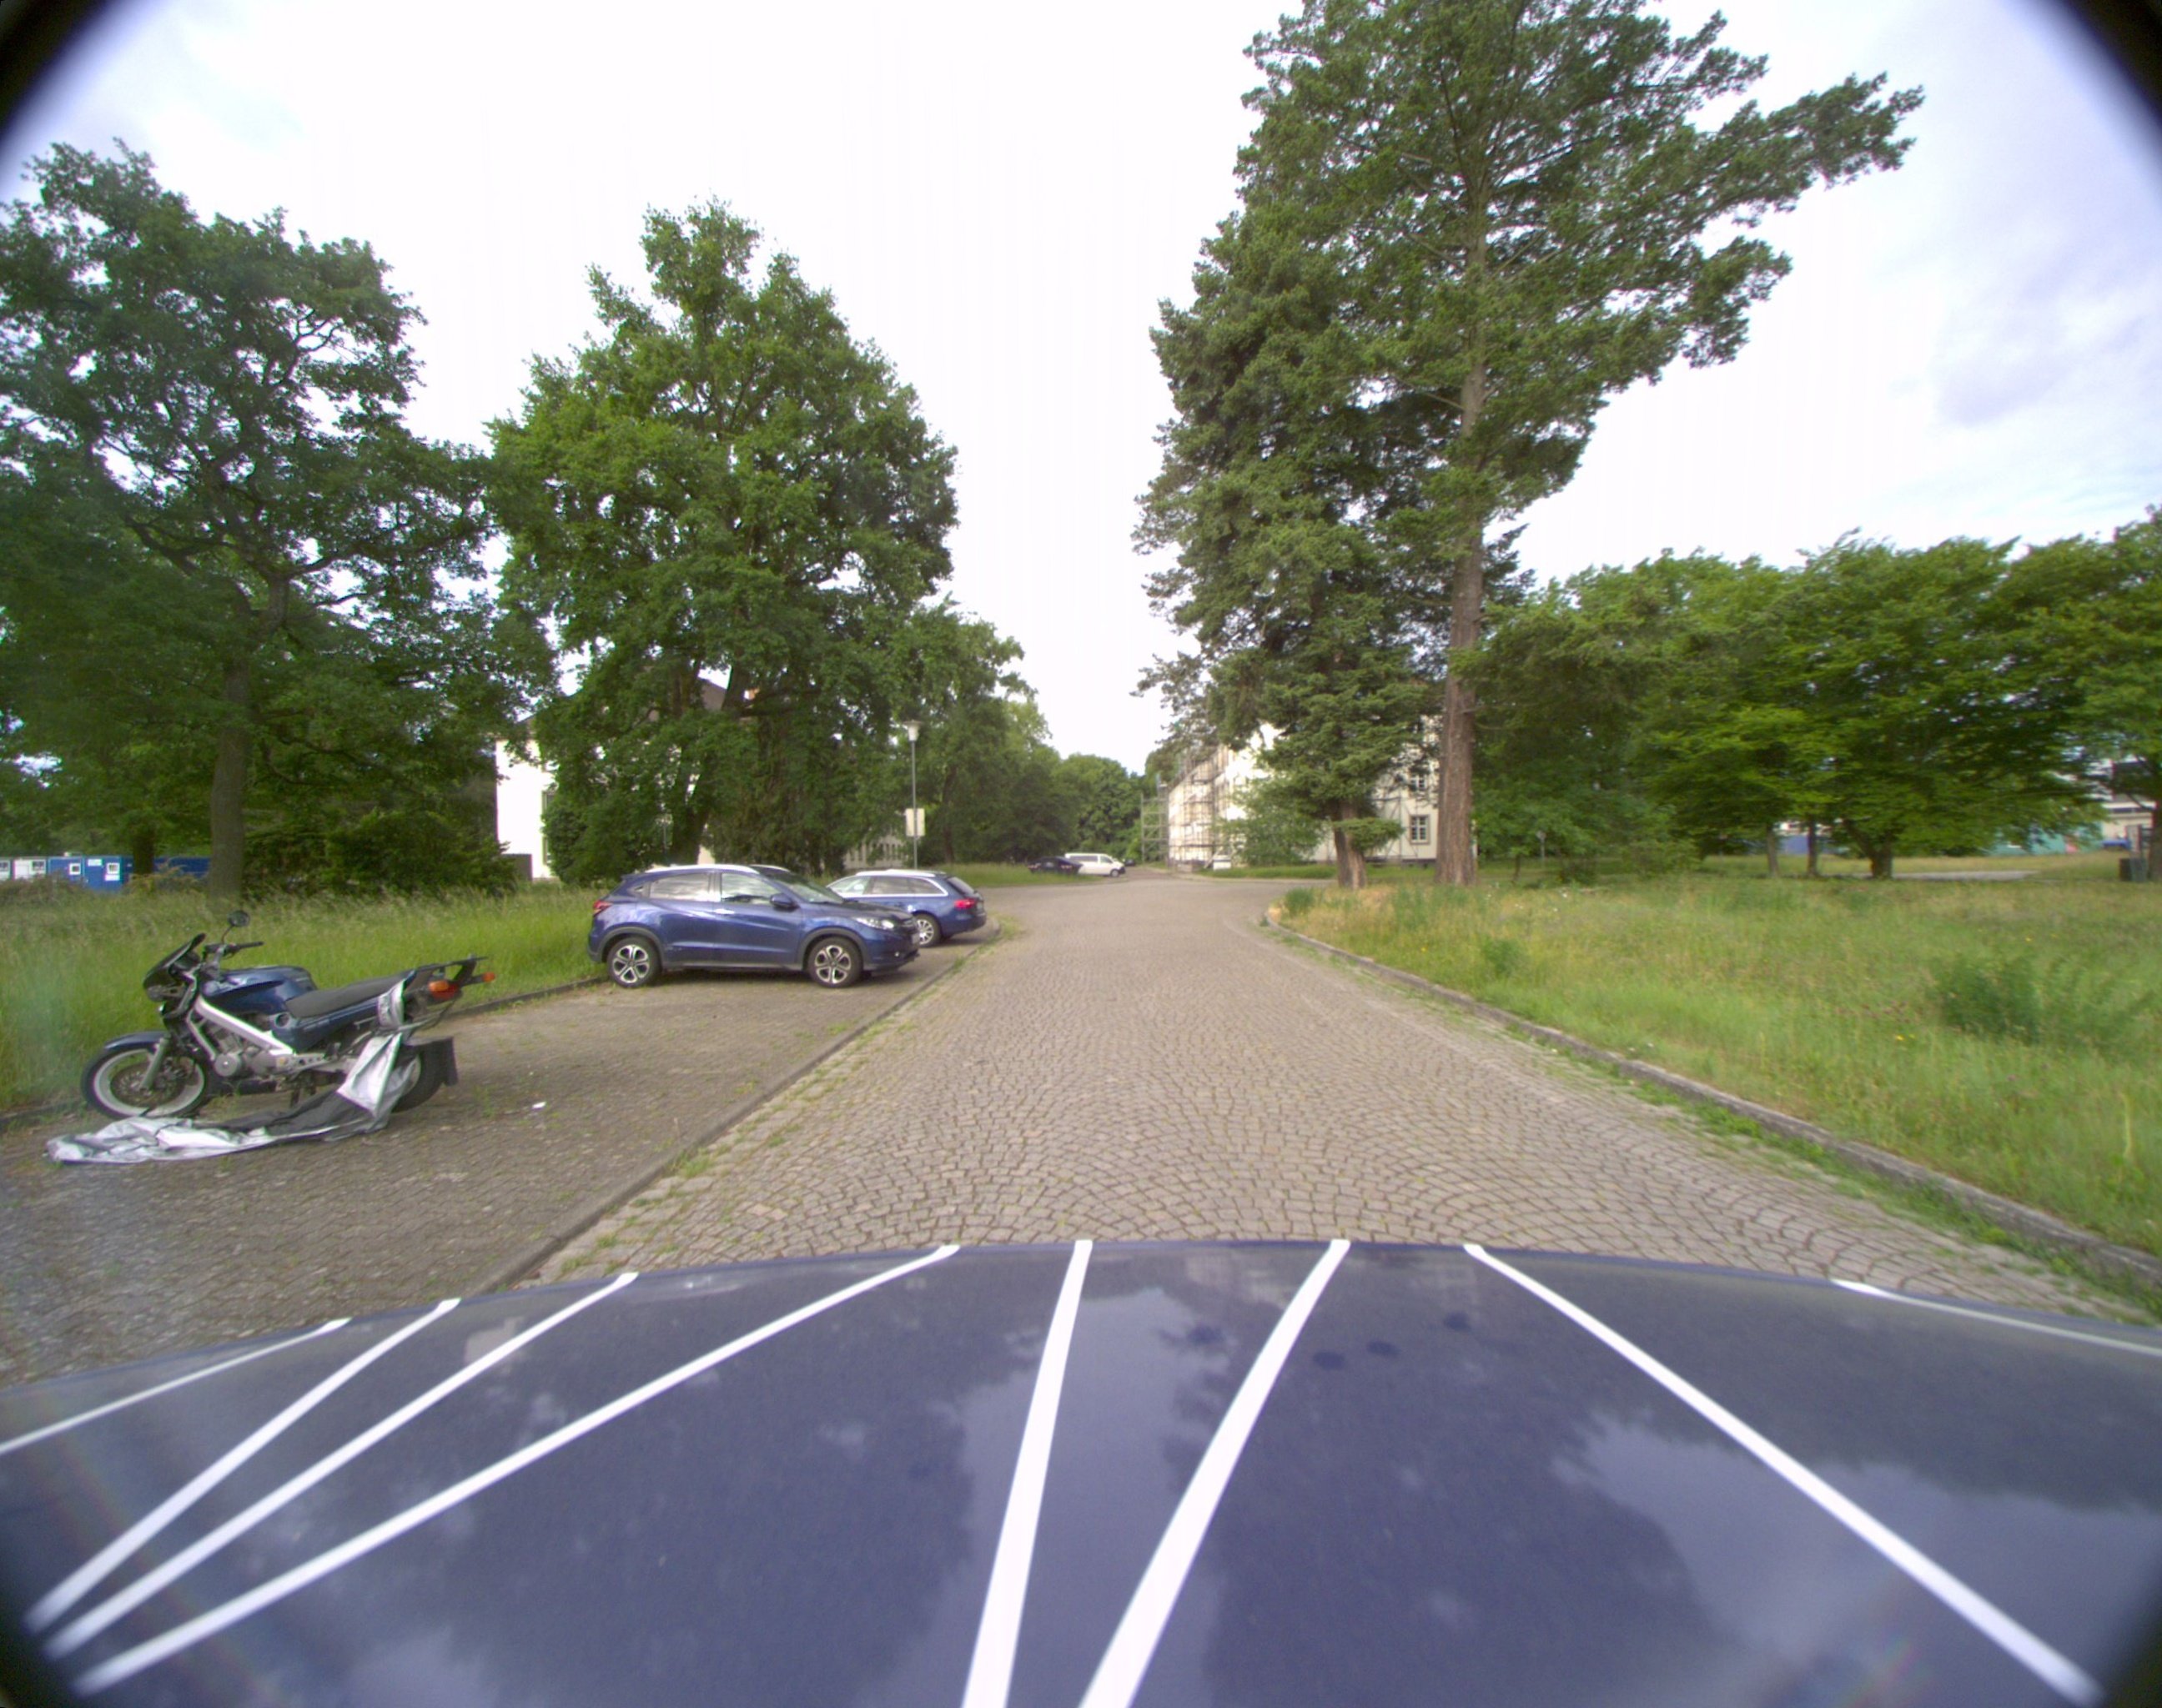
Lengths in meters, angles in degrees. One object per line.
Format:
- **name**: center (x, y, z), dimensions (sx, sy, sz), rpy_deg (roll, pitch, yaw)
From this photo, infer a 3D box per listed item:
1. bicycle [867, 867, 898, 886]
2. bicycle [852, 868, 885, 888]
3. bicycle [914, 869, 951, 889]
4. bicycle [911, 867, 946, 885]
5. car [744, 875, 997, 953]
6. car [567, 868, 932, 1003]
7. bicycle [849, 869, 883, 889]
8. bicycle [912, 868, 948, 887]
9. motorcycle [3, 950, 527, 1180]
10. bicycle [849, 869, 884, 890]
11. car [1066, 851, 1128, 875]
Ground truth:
- **bicycle**: center (-12.703, 1.439, 48.603), dimensions (1.859, 1.116, 0.621), rpy_deg (-2, 1, -22)
- **bicycle**: center (-12.959, 1.468, 46.389), dimensions (1.859, 1.116, 0.621), rpy_deg (-2, 1, -22)
- **bicycle**: center (-8.551, 1.425, 43.792), dimensions (1.976, 1.070, 0.587), rpy_deg (-2, 1, -26)
- **bicycle**: center (-9.557, 1.366, 47.501), dimensions (2.032, 1.070, 0.621), rpy_deg (-2, 1, -22)
- **car**: center (-4.070, 1.142, 15.118), dimensions (4.479, 1.413, 1.785), rpy_deg (0, 0, 4)
- **car**: center (-4.336, 1.044, 10.422), dimensions (4.172, 1.562, 1.793), rpy_deg (-1, 1, 1)
- **bicycle**: center (-12.640, 1.462, 44.721), dimensions (1.859, 1.116, 0.621), rpy_deg (-2, 1, -22)
- **bicycle**: center (-9.029, 1.403, 45.384), dimensions (1.976, 1.070, 0.587), rpy_deg (-2, 1, -26)
- **motorcycle**: center (-4.917, 1.245, 4.717), dimensions (2.333, 1.179, 0.795), rpy_deg (0, 1, -1)
- **bicycle**: center (-12.454, 1.457, 44.107), dimensions (1.859, 1.116, 0.621), rpy_deg (-2, 1, -22)
- **car**: center (1.343, 0.741, 63.860), dimensions (5.100, 2.007, 2.055), rpy_deg (0, 0, 0)
